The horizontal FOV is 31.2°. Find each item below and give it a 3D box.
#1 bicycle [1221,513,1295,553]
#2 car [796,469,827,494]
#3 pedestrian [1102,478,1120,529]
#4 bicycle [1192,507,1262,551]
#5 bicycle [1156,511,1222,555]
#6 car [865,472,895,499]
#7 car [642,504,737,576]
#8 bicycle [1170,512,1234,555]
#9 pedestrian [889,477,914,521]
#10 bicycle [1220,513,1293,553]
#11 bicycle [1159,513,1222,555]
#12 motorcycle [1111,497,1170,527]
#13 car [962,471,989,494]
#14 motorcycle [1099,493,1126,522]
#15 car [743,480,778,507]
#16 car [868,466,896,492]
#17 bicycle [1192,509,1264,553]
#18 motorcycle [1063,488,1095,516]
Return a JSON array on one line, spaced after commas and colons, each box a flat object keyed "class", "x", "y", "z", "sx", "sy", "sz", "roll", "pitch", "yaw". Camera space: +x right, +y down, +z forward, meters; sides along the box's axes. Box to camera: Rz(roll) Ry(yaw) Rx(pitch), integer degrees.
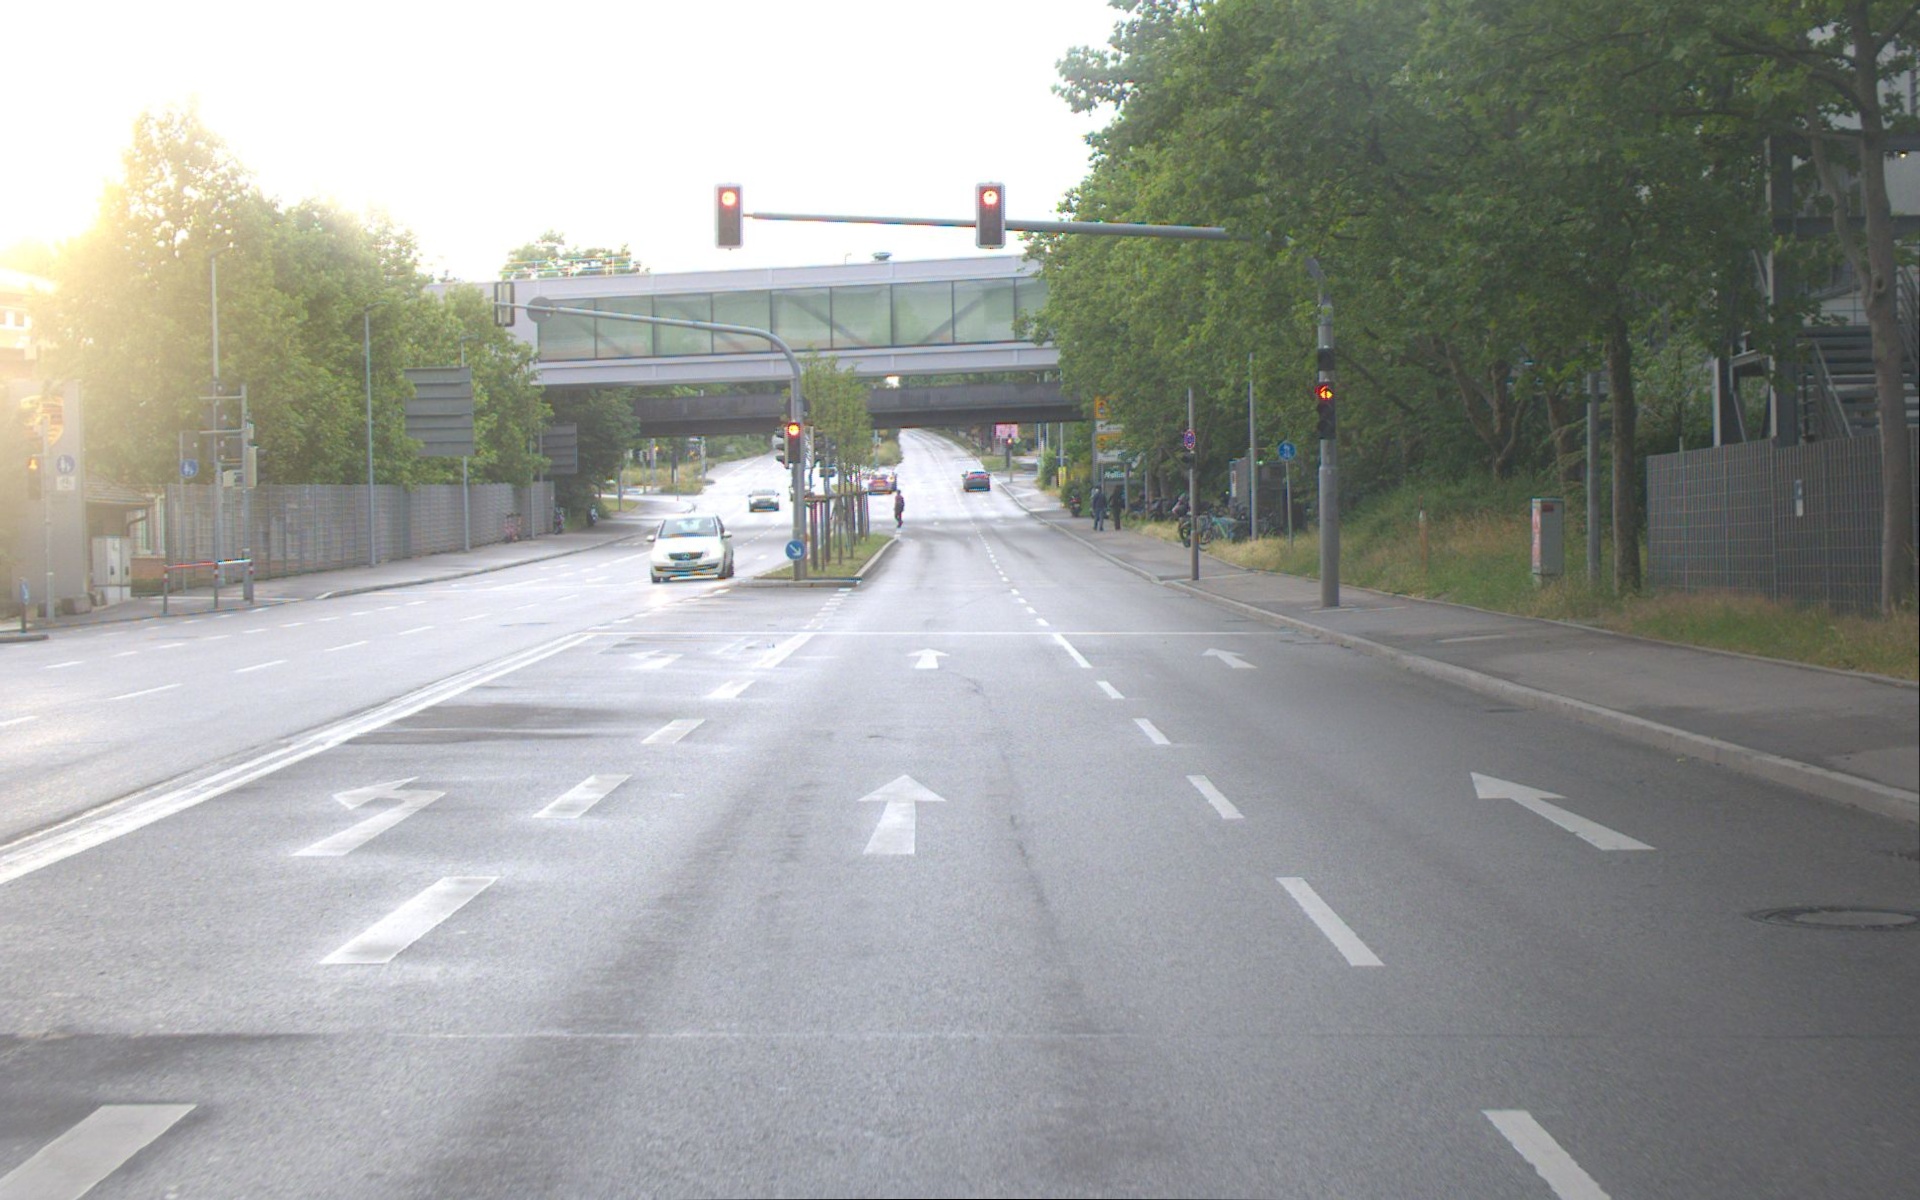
[{"class": "bicycle", "x": 8.288, "y": -1.864, "z": 95.700, "sx": 1.990, "sy": 1.091, "sz": 0.541, "roll": 1, "pitch": 0, "yaw": 1}, {"class": "car", "x": -10.308, "y": -8.198, "z": 238.417, "sx": 1.877, "sy": 1.619, "sz": 3.779, "roll": -2, "pitch": 2, "yaw": 1}, {"class": "pedestrian", "x": 5.965, "y": -3.809, "z": 135.499, "sx": 0.622, "sy": 2.007, "sz": 0.605, "roll": -2, "pitch": 1, "yaw": 1}, {"class": "bicycle", "x": 7.764, "y": -2.055, "z": 99.924, "sx": 1.990, "sy": 1.229, "sz": 0.541, "roll": 1, "pitch": 0, "yaw": 1}, {"class": "bicycle", "x": 7.171, "y": -2.103, "z": 107.743, "sx": 1.990, "sy": 1.324, "sz": 0.576, "roll": 1, "pitch": 0, "yaw": 1}, {"class": "car", "x": -5.790, "y": -8.277, "z": 248.828, "sx": 1.993, "sy": 1.756, "sz": 4.000, "roll": 1, "pitch": 0, "yaw": 1}, {"class": "car", "x": -6.427, "y": -1.453, "z": 82.001, "sx": 1.877, "sy": 1.619, "sz": 3.779, "roll": -2, "pitch": 2, "yaw": 1}, {"class": "bicycle", "x": 7.758, "y": -2.127, "z": 110.265, "sx": 1.990, "sy": 1.324, "sz": 0.576, "roll": 1, "pitch": 0, "yaw": 1}, {"class": "pedestrian", "x": -2.748, "y": -4.756, "z": 161.857, "sx": 0.873, "sy": 1.997, "sz": 0.854, "roll": -2, "pitch": 1, "yaw": 18}, {"class": "bicycle", "x": 8.292, "y": -1.869, "z": 96.268, "sx": 1.990, "sy": 1.091, "sz": 0.541, "roll": 1, "pitch": 0, "yaw": 1}, {"class": "bicycle", "x": 7.434, "y": -2.128, "z": 110.981, "sx": 1.990, "sy": 1.324, "sz": 0.576, "roll": 1, "pitch": 0, "yaw": 1}, {"class": "motorcycle", "x": 7.531, "y": -3.670, "z": 143.383, "sx": 2.369, "sy": 1.198, "sz": 0.722, "roll": -2, "pitch": 1, "yaw": 8}, {"class": "car", "x": 1.137, "y": -8.336, "z": 244.871, "sx": 1.875, "sy": 1.492, "sz": 4.068, "roll": 1, "pitch": 1, "yaw": 1}, {"class": "motorcycle", "x": 7.205, "y": -4.368, "z": 162.271, "sx": 0.790, "sy": 1.307, "sz": 2.377, "roll": -2, "pitch": 1, "yaw": -8}, {"class": "car", "x": -12.407, "y": -6.608, "z": 214.206, "sx": 1.877, "sy": 1.619, "sz": 3.779, "roll": -2, "pitch": 2, "yaw": 1}, {"class": "car", "x": -5.763, "y": -8.903, "z": 253.554, "sx": 1.884, "sy": 1.756, "sz": 3.969, "roll": 1, "pitch": 0, "yaw": 1}, {"class": "bicycle", "x": 7.618, "y": -1.957, "z": 97.738, "sx": 1.990, "sy": 1.212, "sz": 0.541, "roll": 1, "pitch": 0, "yaw": 1}, {"class": "motorcycle", "x": 5.783, "y": -4.785, "z": 167.309, "sx": 0.790, "sy": 1.307, "sz": 2.377, "roll": -2, "pitch": 1, "yaw": -18}]
